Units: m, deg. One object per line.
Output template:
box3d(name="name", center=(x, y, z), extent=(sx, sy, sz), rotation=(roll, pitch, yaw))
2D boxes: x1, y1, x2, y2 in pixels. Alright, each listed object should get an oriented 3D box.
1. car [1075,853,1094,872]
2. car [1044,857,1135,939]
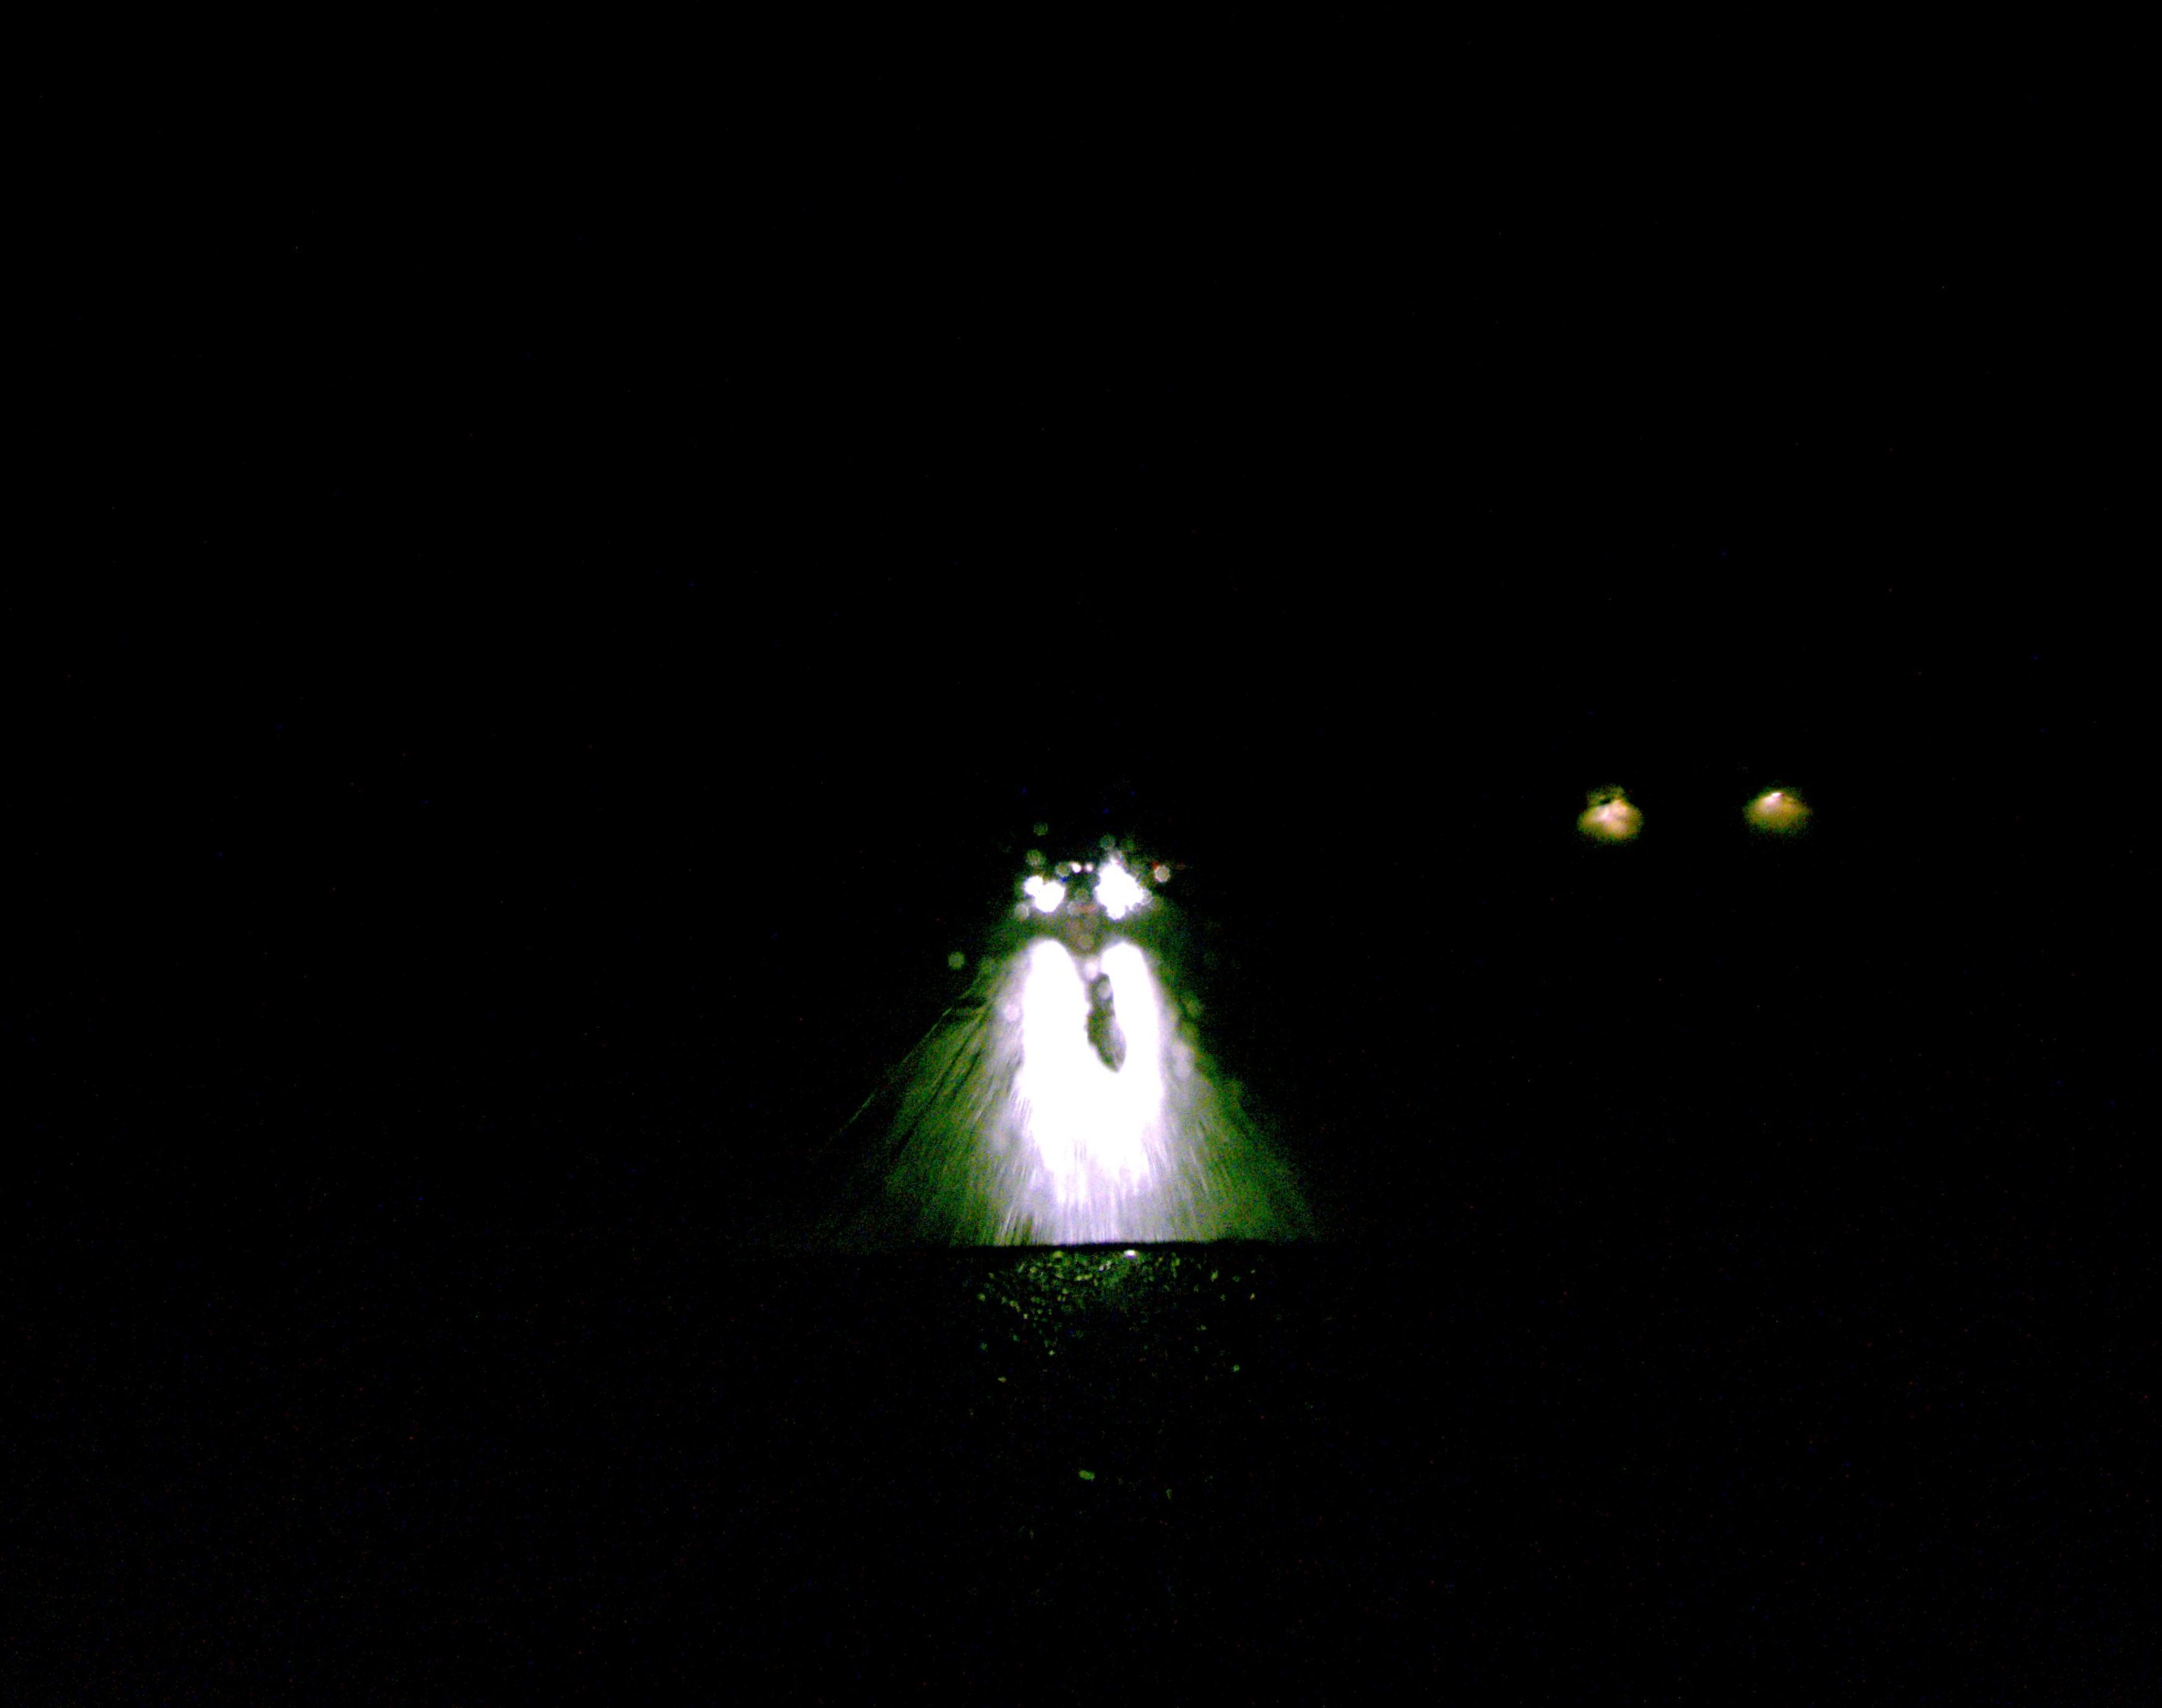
box3d(name="car", center=(0.426, 0.890, 80.343), extent=(1.759, 1.807, 4.710), rotation=(-3, 1, 3))
box3d(name="car", center=(0.151, 0.911, 17.964), extent=(1.810, 1.590, 4.785), rotation=(-1, 1, -1))
